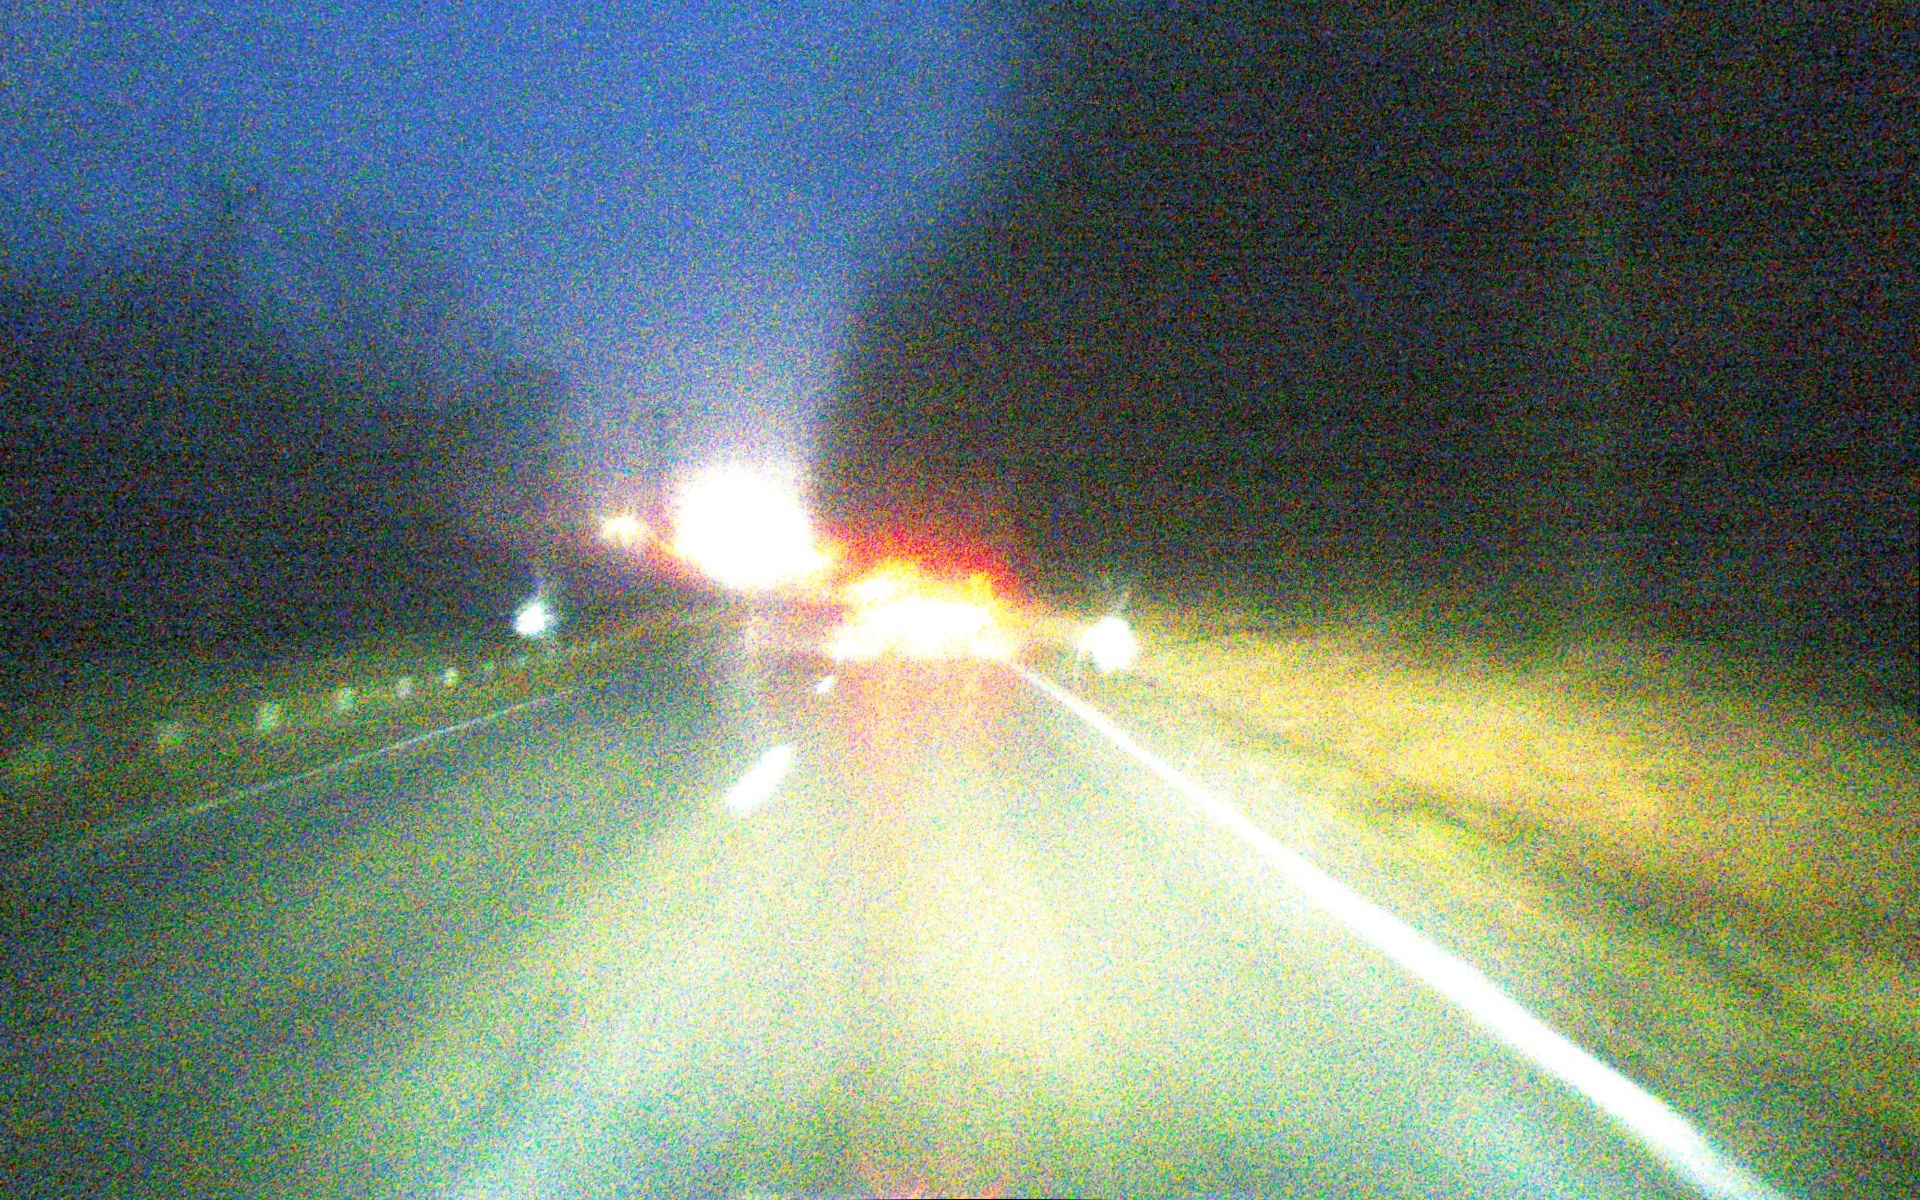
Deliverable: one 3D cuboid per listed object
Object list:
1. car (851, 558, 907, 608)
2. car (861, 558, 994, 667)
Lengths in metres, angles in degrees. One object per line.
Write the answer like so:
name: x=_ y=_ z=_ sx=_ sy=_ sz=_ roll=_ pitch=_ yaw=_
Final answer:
car: x=-3.481 y=-0.744 z=70.533 sx=1.956 sy=2.049 sz=3.993 roll=1 pitch=1 yaw=-8
car: x=-0.552 y=0.222 z=32.666 sx=2.407 sy=1.993 sz=4.912 roll=0 pitch=0 yaw=1
